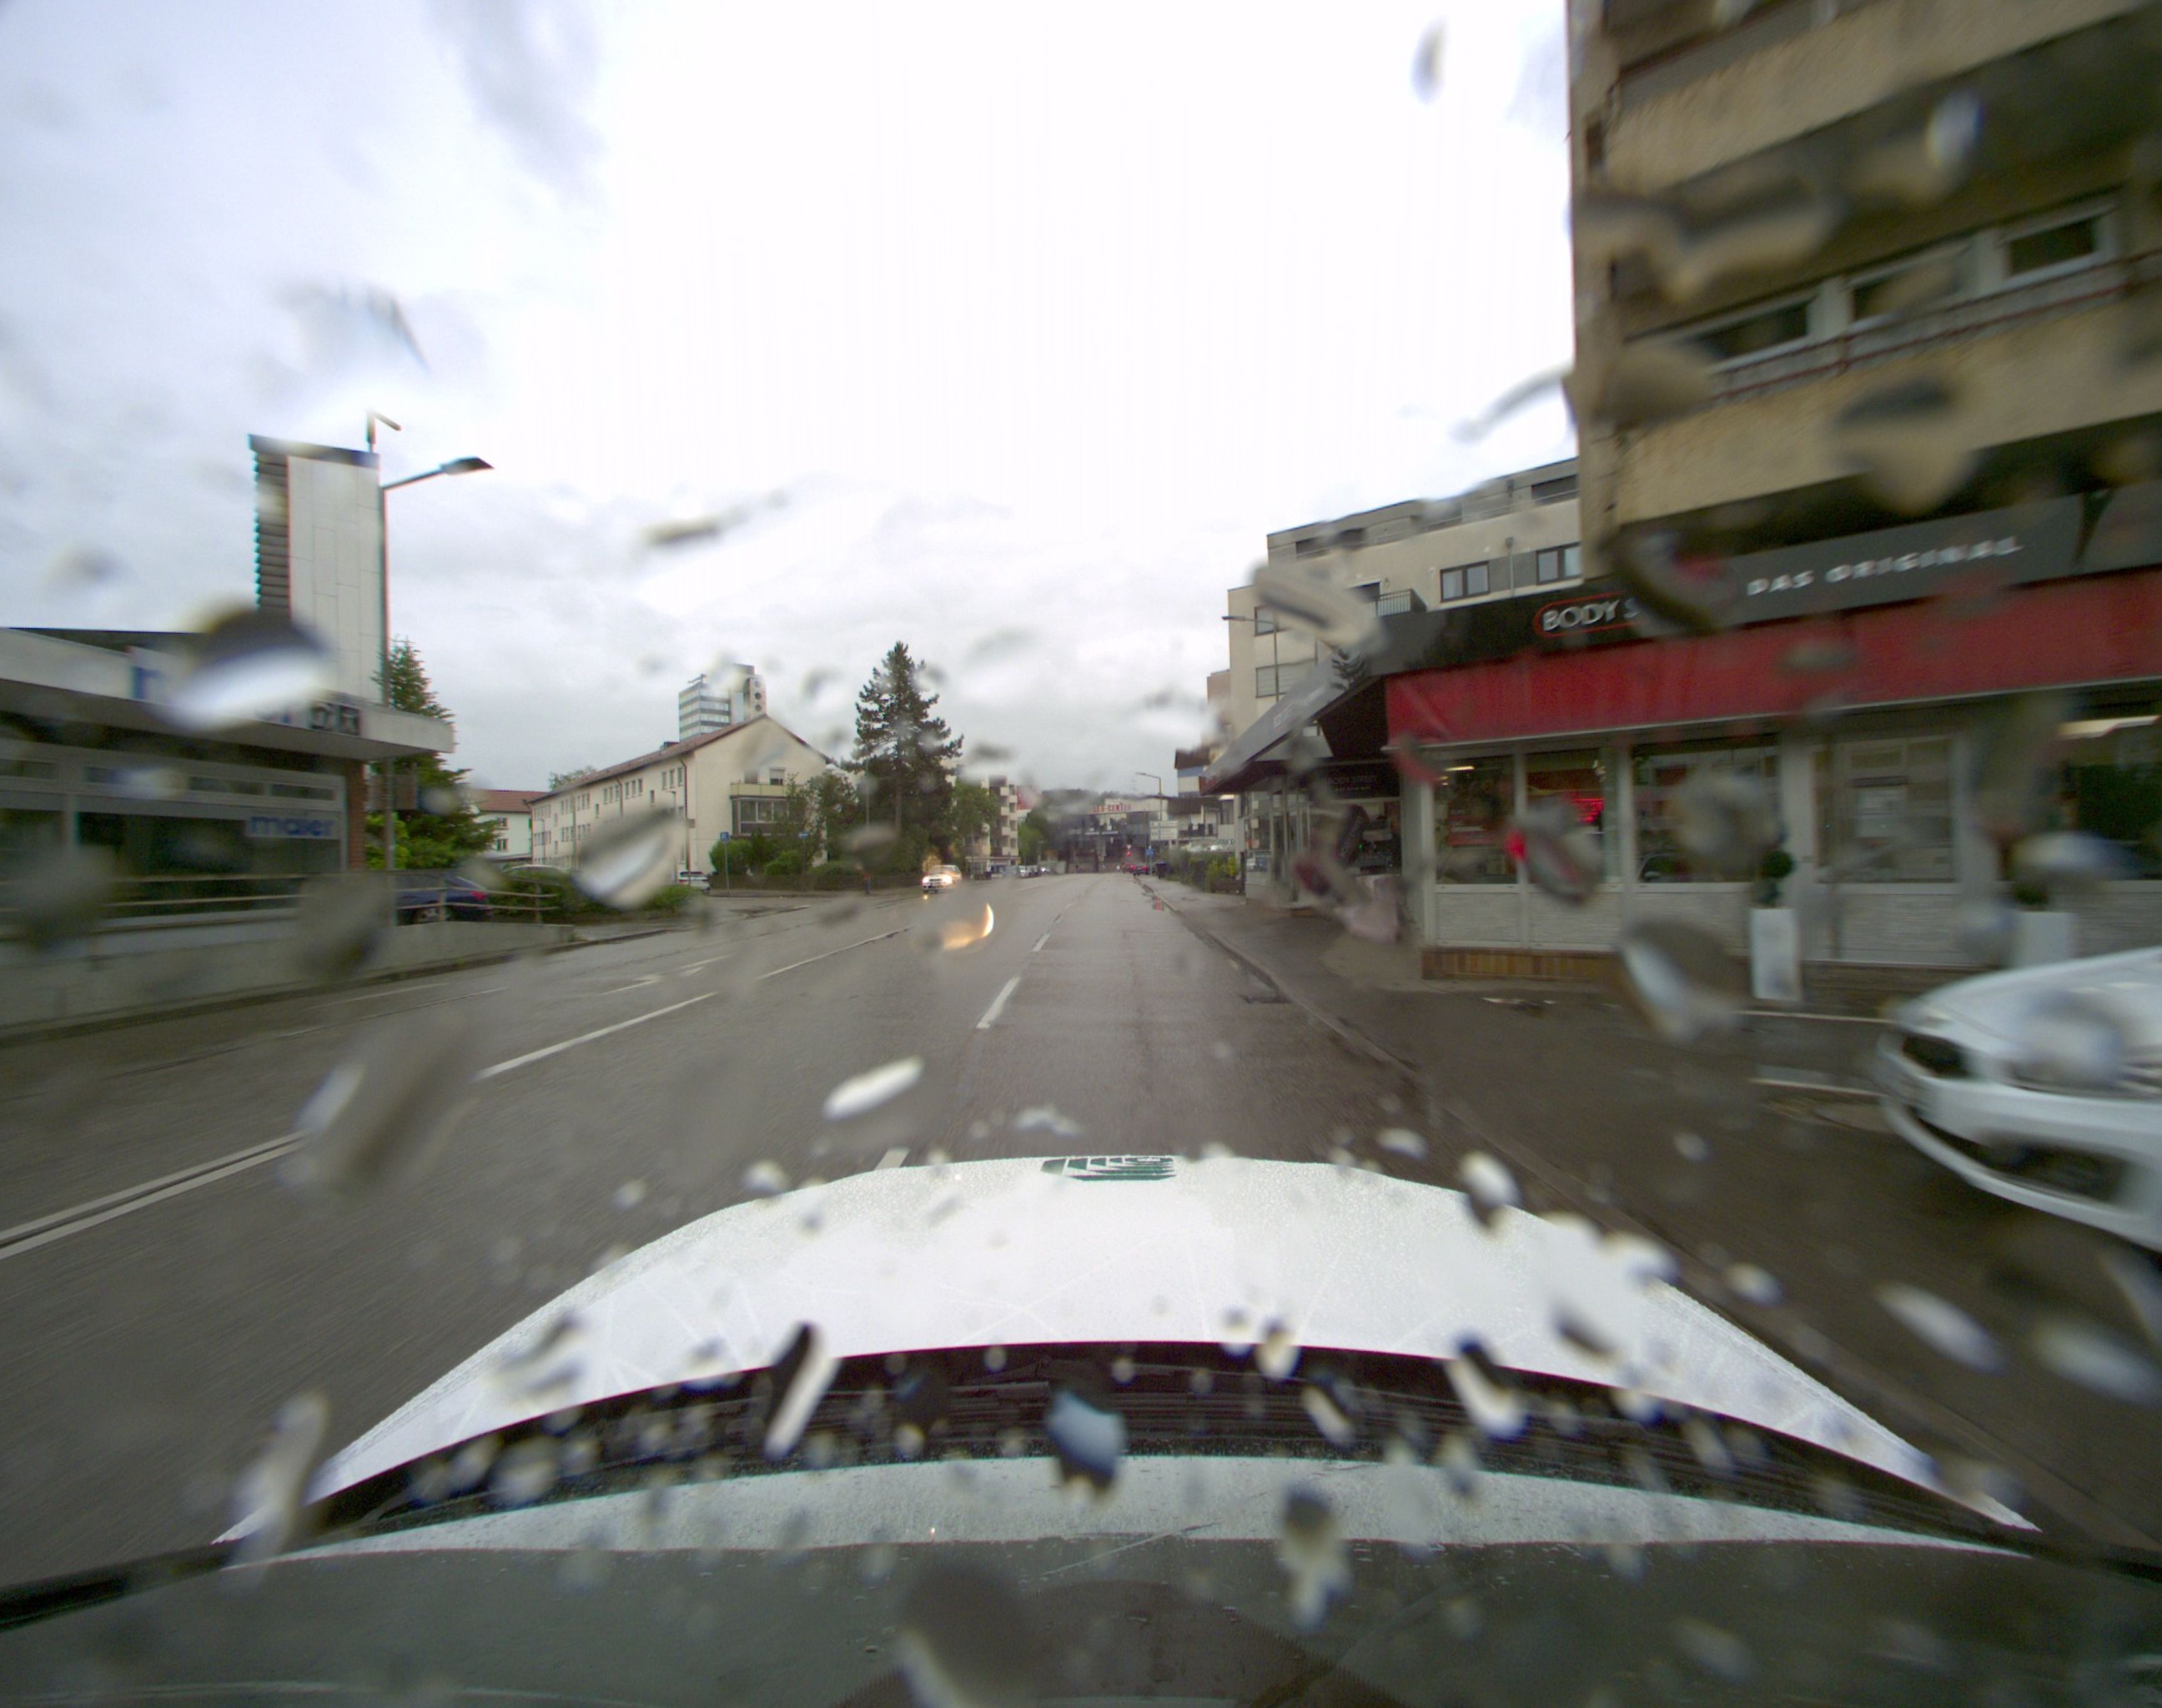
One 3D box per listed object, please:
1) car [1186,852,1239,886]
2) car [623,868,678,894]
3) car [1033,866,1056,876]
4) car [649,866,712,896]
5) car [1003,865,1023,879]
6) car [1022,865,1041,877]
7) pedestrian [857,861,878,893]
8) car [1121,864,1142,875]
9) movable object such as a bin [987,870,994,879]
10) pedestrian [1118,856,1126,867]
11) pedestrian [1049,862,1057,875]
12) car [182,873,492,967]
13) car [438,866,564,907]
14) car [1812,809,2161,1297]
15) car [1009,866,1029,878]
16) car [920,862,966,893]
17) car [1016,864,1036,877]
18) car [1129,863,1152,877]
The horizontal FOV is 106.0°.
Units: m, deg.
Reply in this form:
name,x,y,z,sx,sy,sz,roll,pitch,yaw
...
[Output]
name,x,y,z,sx,sy,sz,roll,pitch,yaw
car,7.230,0.813,45.180,1.989,1.785,4.686,-1,-1,-2
car,-25.012,1.552,47.320,3.774,1.447,1.797,-1,-1,45
car,-6.556,3.103,145.588,2.007,1.512,4.388,2,0,-33
car,-21.076,1.398,42.836,1.797,1.447,3.952,0,-1,-45
car,-7.738,2.021,93.181,1.644,1.521,4.329,-1,-1,5
car,-6.617,2.229,109.969,1.925,1.542,4.278,-1,-1,5
pedestrian,-11.186,1.195,42.660,0.868,1.607,1.101,-1,-2,-5
car,7.205,2.215,116.380,1.788,1.419,4.022,-2,-1,23
movable object such as a bin,-9.915,2.251,89.177,0.645,0.966,0.683,-2,-1,4
pedestrian,6.150,1.154,123.164,0.913,1.659,0.749,2,0,-24
pedestrian,-4.334,2.305,126.950,0.741,2.014,0.926,2,-1,25
car,-14.996,1.208,16.665,1.975,1.546,4.498,-1,0,44
car,-25.495,1.384,35.858,4.409,1.615,2.107,0,-1,-39
car,5.242,0.575,2.456,4.216,1.494,1.885,0,1,30
car,-7.491,2.168,99.269,1.685,1.464,4.690,-1,-1,5
car,-7.316,1.212,43.600,1.692,1.409,3.999,-4,1,0
car,-7.014,2.105,104.242,1.925,1.542,4.526,-1,-1,5
car,7.143,1.930,96.849,1.979,1.534,4.664,-1,-2,14
